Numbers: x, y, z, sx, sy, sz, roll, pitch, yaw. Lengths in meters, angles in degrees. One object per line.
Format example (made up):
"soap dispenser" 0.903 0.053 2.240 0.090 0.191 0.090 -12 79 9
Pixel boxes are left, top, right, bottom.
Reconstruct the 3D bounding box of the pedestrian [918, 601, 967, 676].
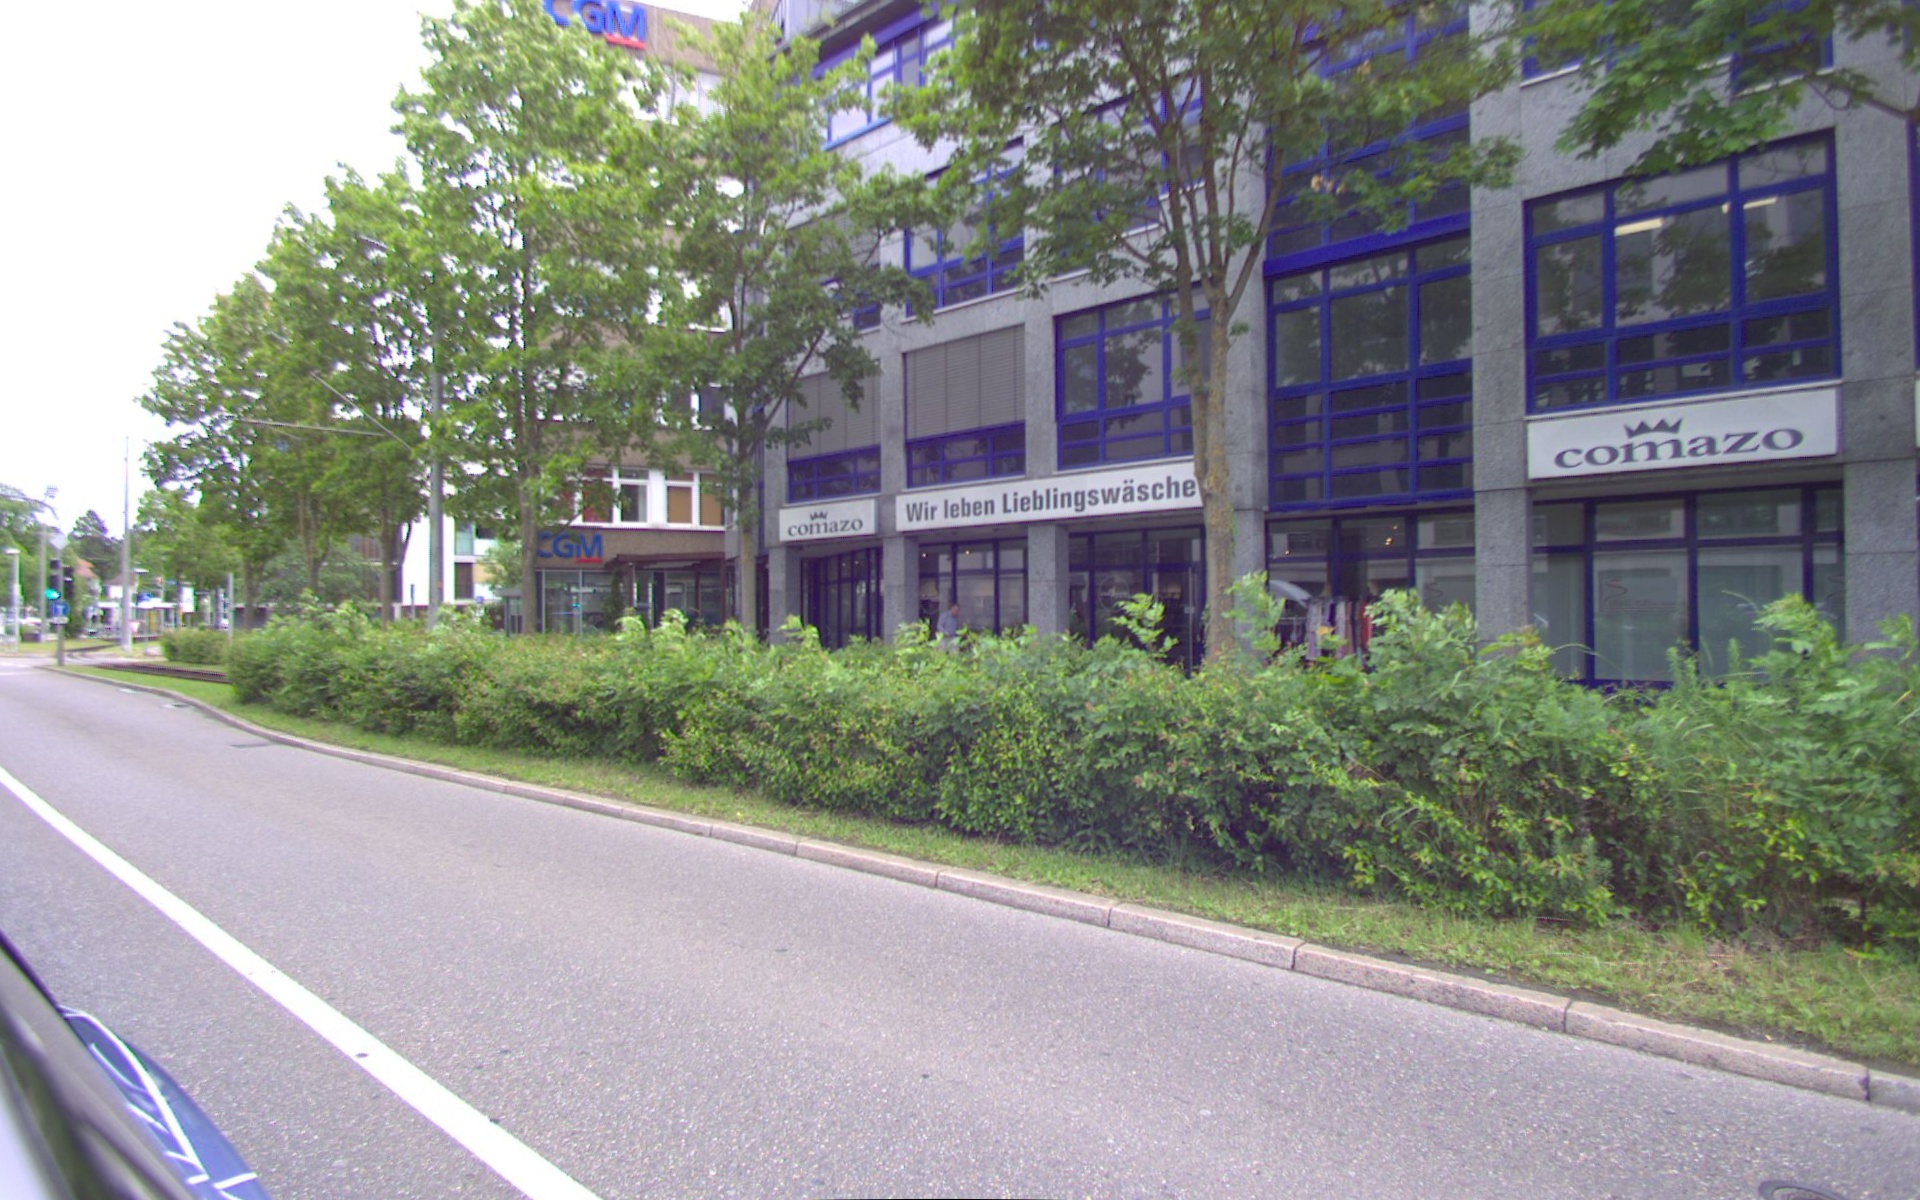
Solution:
"pedestrian" -0.349 0.773 20.699 0.679 1.493 0.690 -2 0 41
